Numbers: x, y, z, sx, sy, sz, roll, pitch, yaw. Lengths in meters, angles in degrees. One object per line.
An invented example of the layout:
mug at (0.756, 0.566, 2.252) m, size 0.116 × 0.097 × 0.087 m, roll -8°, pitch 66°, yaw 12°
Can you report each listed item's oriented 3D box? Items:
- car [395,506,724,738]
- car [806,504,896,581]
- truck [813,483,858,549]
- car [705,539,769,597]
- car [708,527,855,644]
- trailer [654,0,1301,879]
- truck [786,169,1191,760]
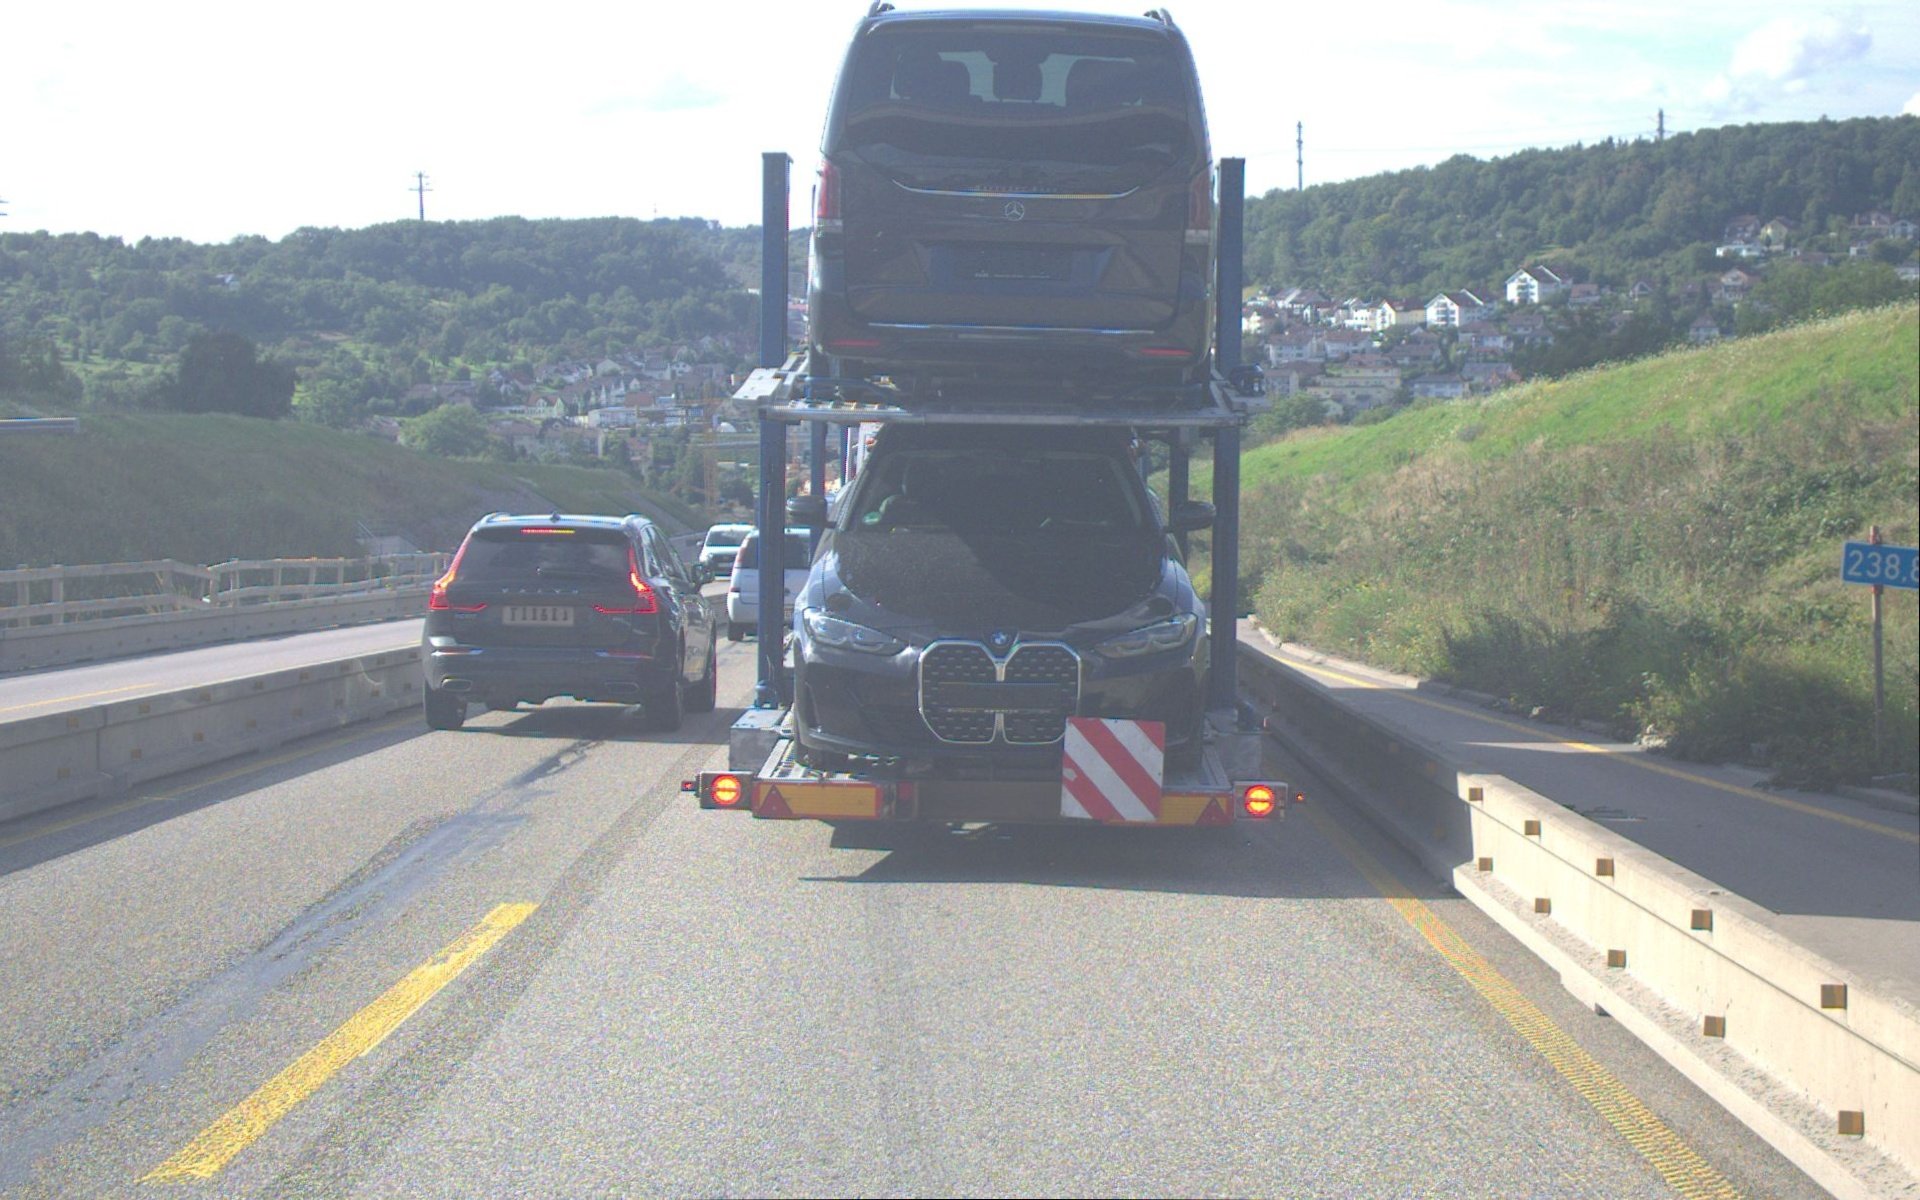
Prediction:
car at (-3.054, 0.097, 27.171) m, size 1.993 × 1.619 × 4.750 m, roll 2°, pitch 1°, yaw 0°
car at (-2.250, -1.213, 71.271) m, size 1.796 × 1.525 × 4.296 m, roll 0°, pitch 2°, yaw -2°
truck at (-7.880, -5.302, 217.790) m, size 2.614 × 4.139 × 5.781 m, roll 0°, pitch 1°, yaw 0°
car at (-7.035, -1.035, 108.834) m, size 1.734 × 1.653 × 4.218 m, roll -3°, pitch 2°, yaw -1°
car at (-2.522, -0.251, 49.503) m, size 1.796 × 1.591 × 4.743 m, roll 0°, pitch 1°, yaw 1°
trailer at (0.246, -0.958, 20.145) m, size 2.708 × 4.015 × 11.419 m, roll 0°, pitch 1°, yaw 2°
truck at (0.216, -0.961, 25.823) m, size 2.678 × 3.908 × 6.028 m, roll 0°, pitch 1°, yaw 1°
